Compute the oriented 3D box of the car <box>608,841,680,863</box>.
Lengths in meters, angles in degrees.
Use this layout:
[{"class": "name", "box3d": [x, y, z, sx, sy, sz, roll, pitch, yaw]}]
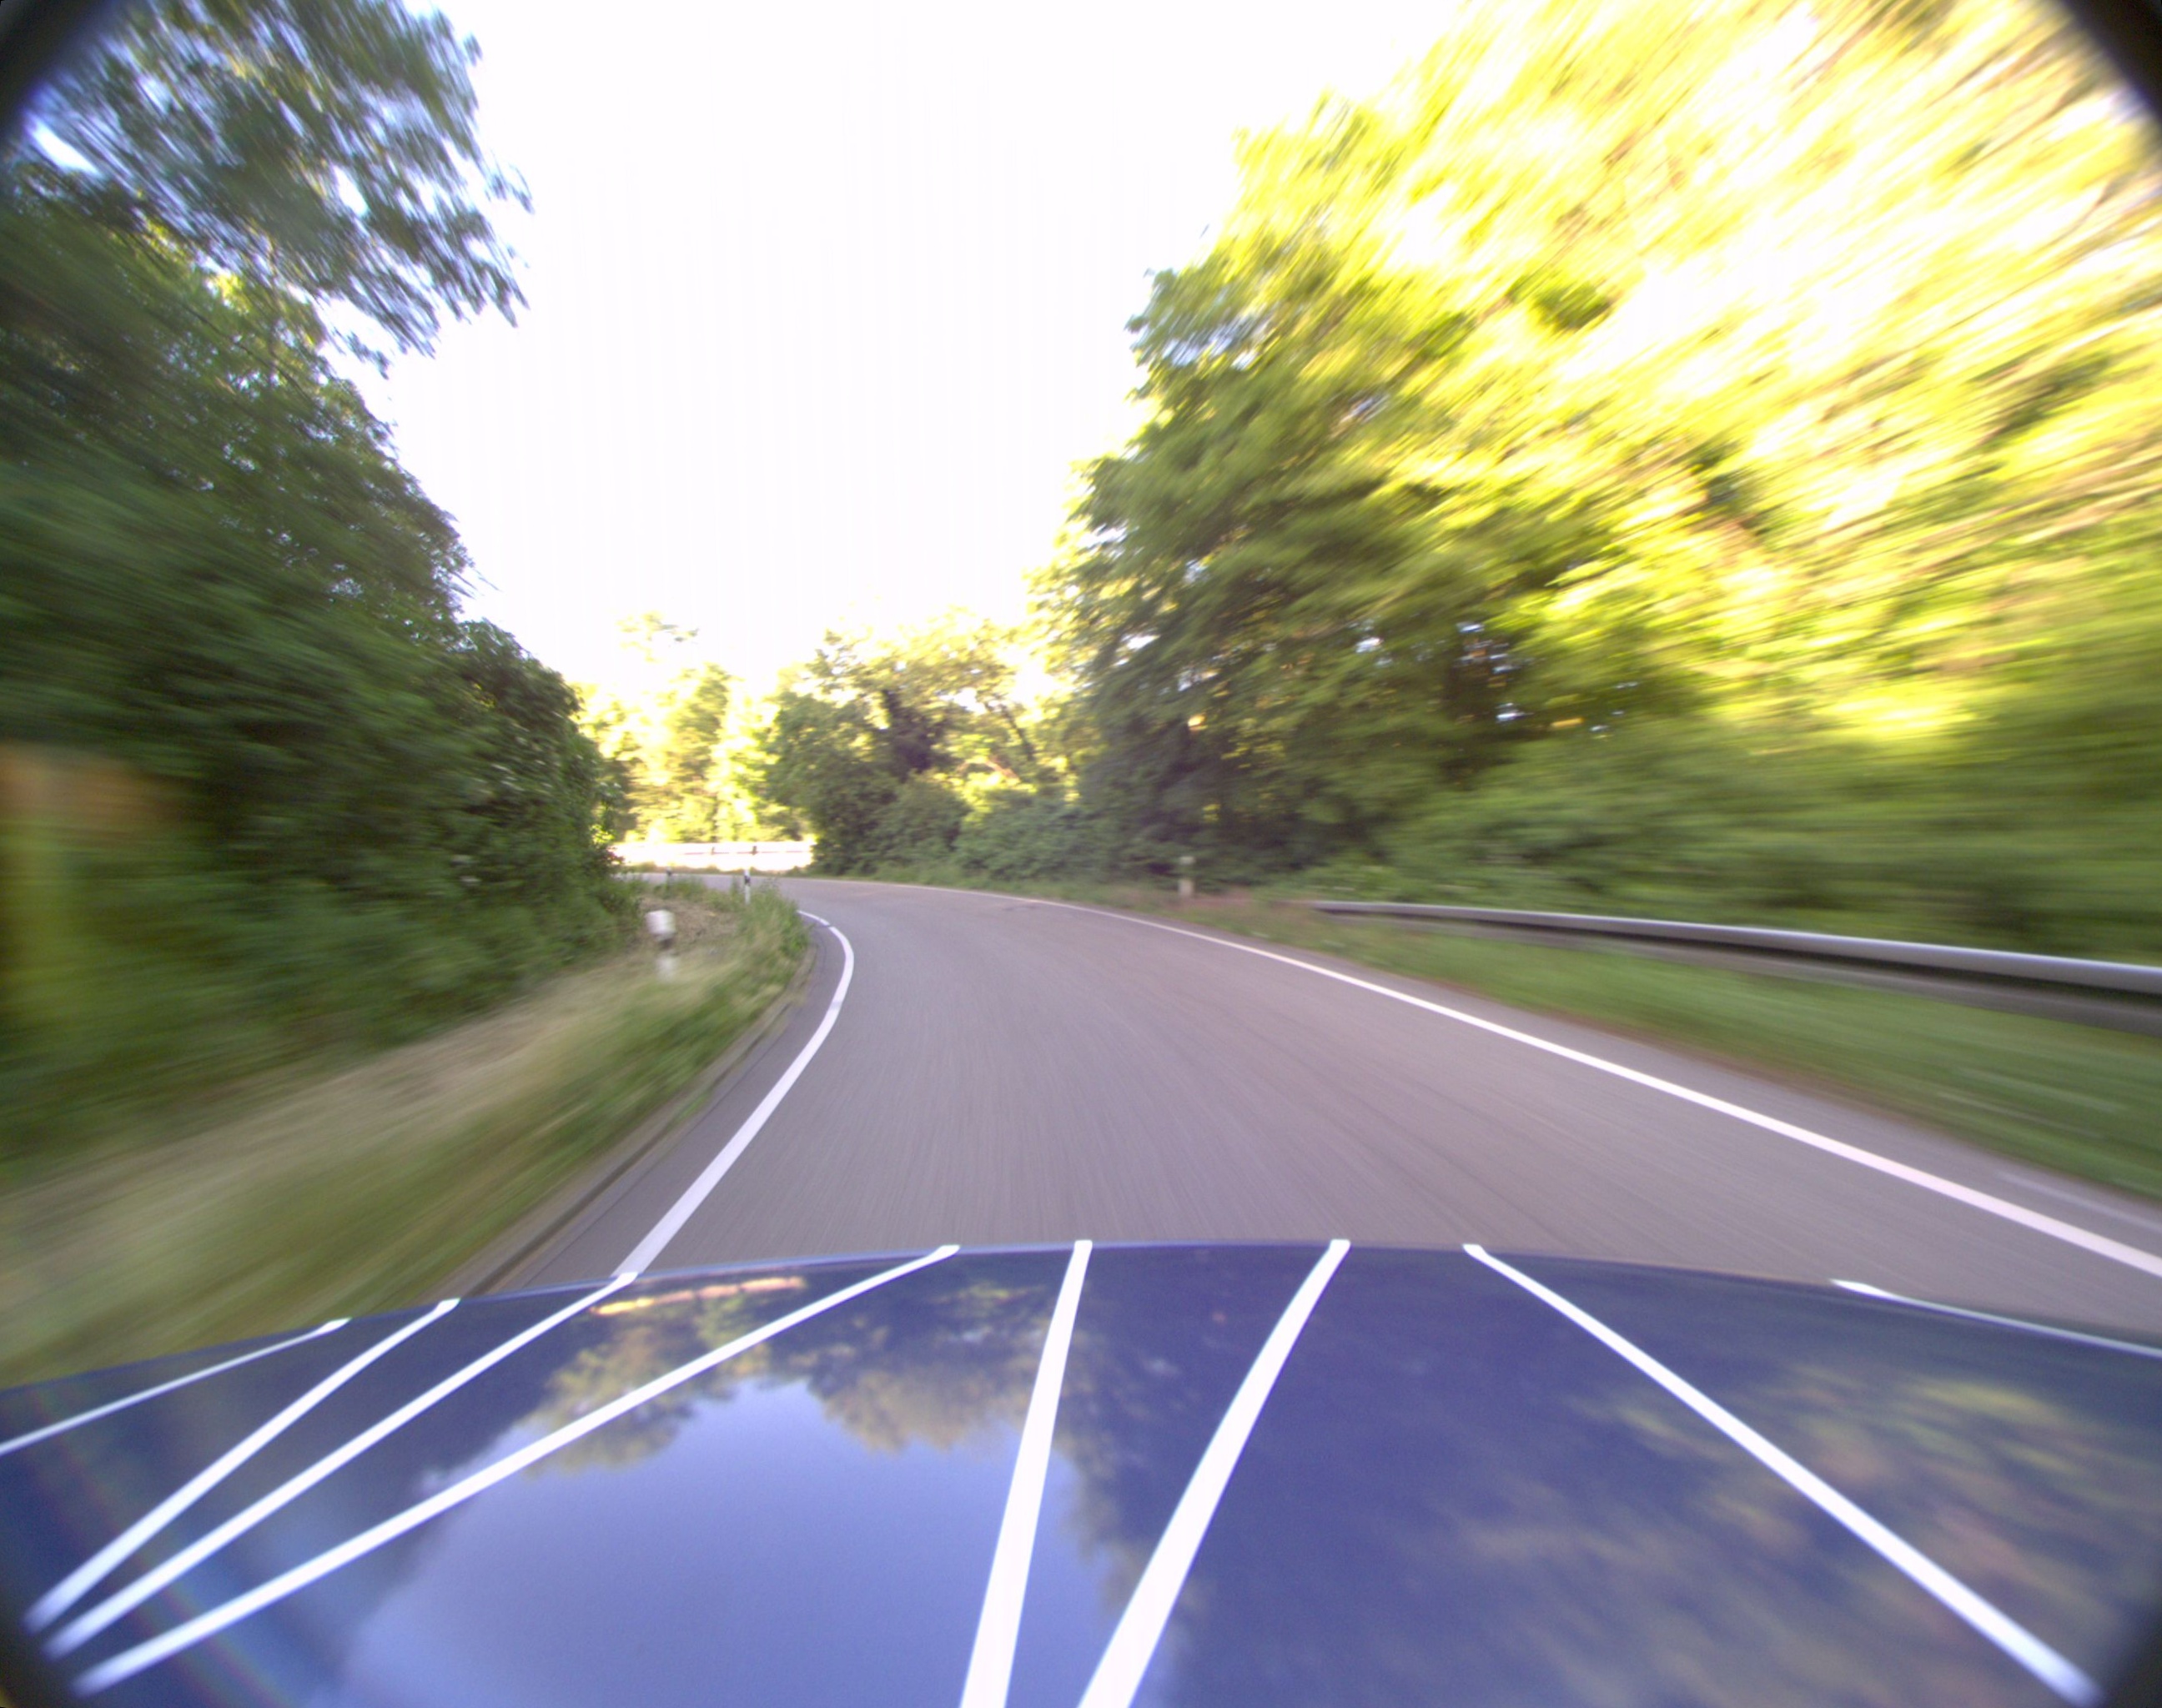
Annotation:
[{"class": "car", "box3d": [-31.506, -0.141, 54.896, 4.251, 1.547, 1.549, -1, 1, -20]}]
